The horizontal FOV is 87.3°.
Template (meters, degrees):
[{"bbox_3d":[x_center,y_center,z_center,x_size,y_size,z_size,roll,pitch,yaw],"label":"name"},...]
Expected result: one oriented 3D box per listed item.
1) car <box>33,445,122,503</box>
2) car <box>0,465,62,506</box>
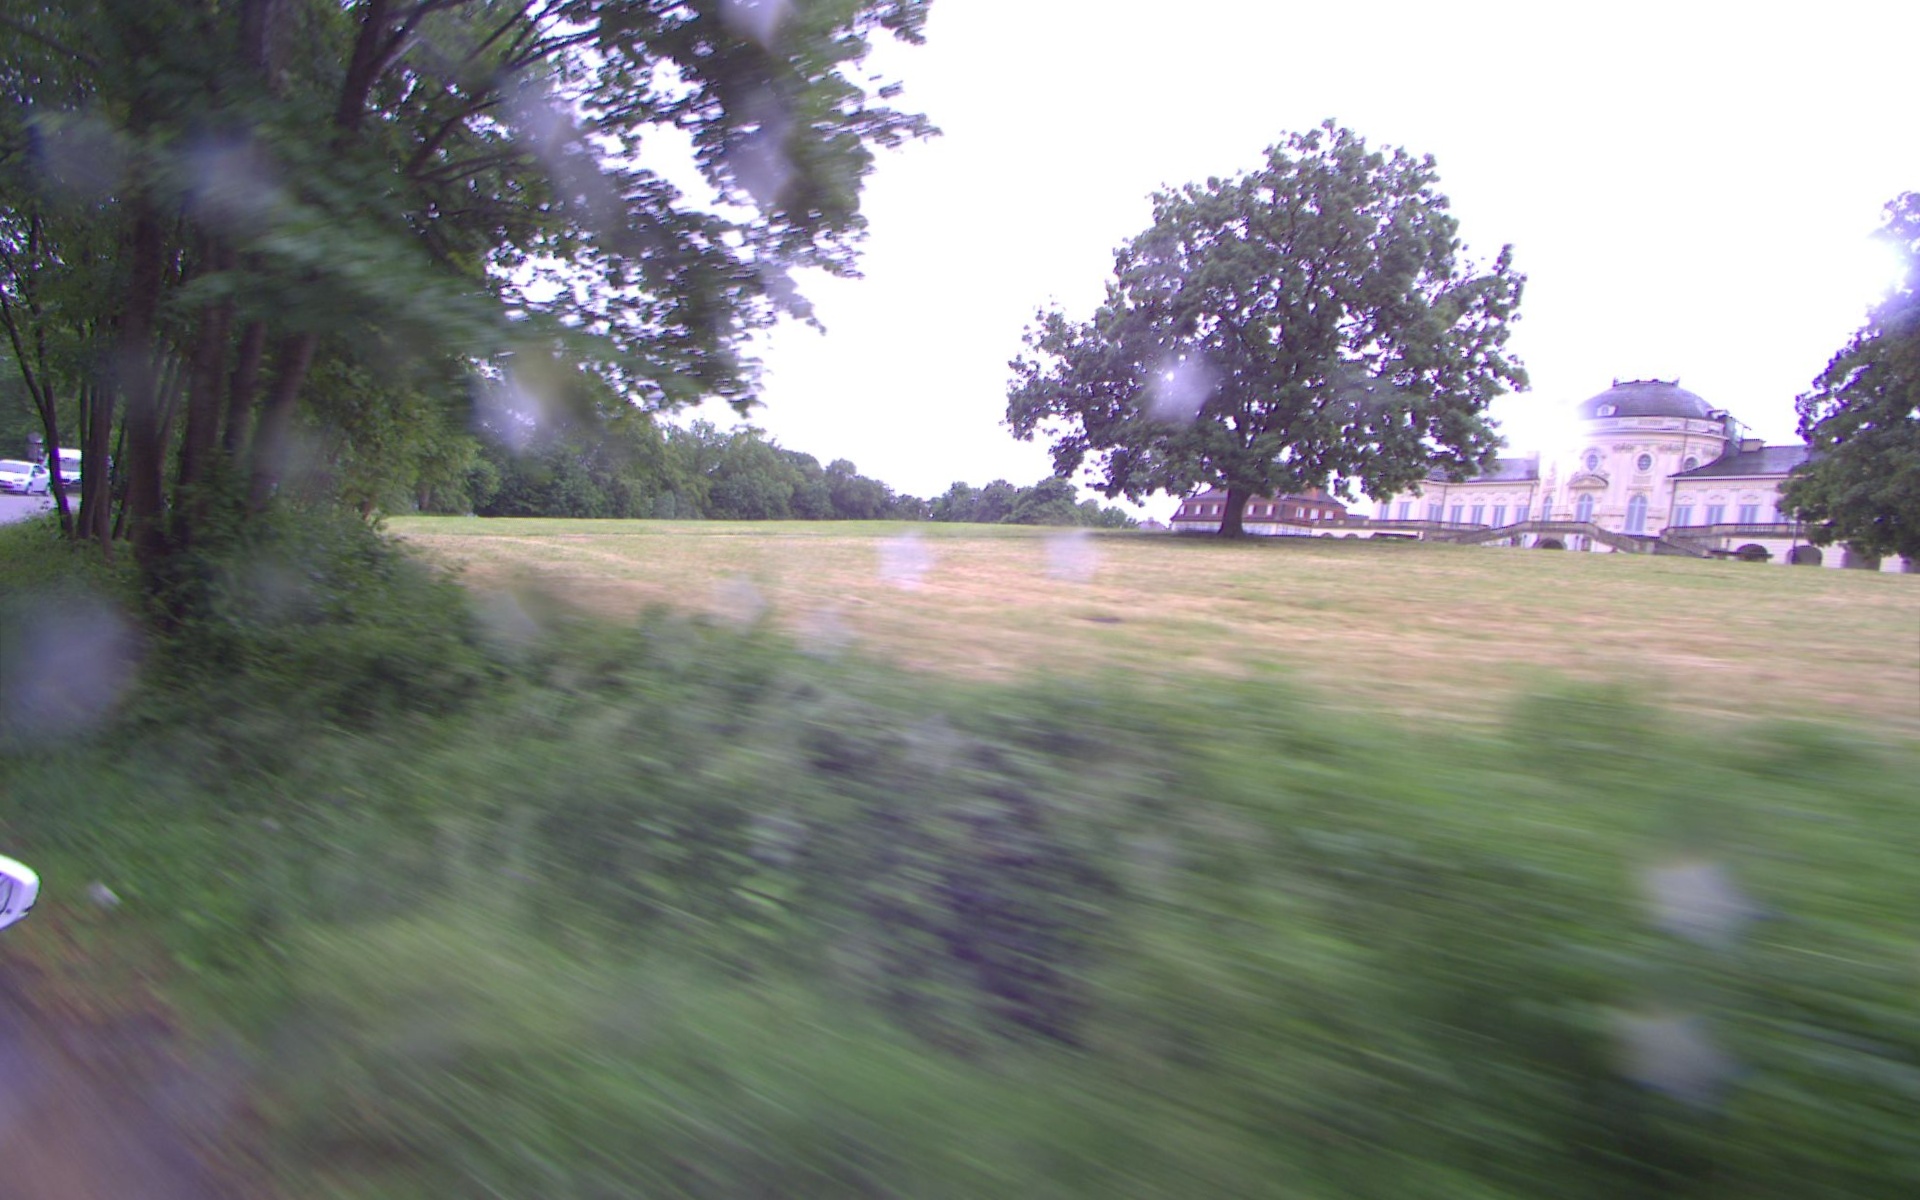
[{"bbox_3d":[-47.890,-6.783,54.766,2.251,2.735,6.001,3,4,-28],"label":"car"},{"bbox_3d":[-43.239,-5.281,46.201,1.844,1.617,4.460,4,3,-28],"label":"car"}]
